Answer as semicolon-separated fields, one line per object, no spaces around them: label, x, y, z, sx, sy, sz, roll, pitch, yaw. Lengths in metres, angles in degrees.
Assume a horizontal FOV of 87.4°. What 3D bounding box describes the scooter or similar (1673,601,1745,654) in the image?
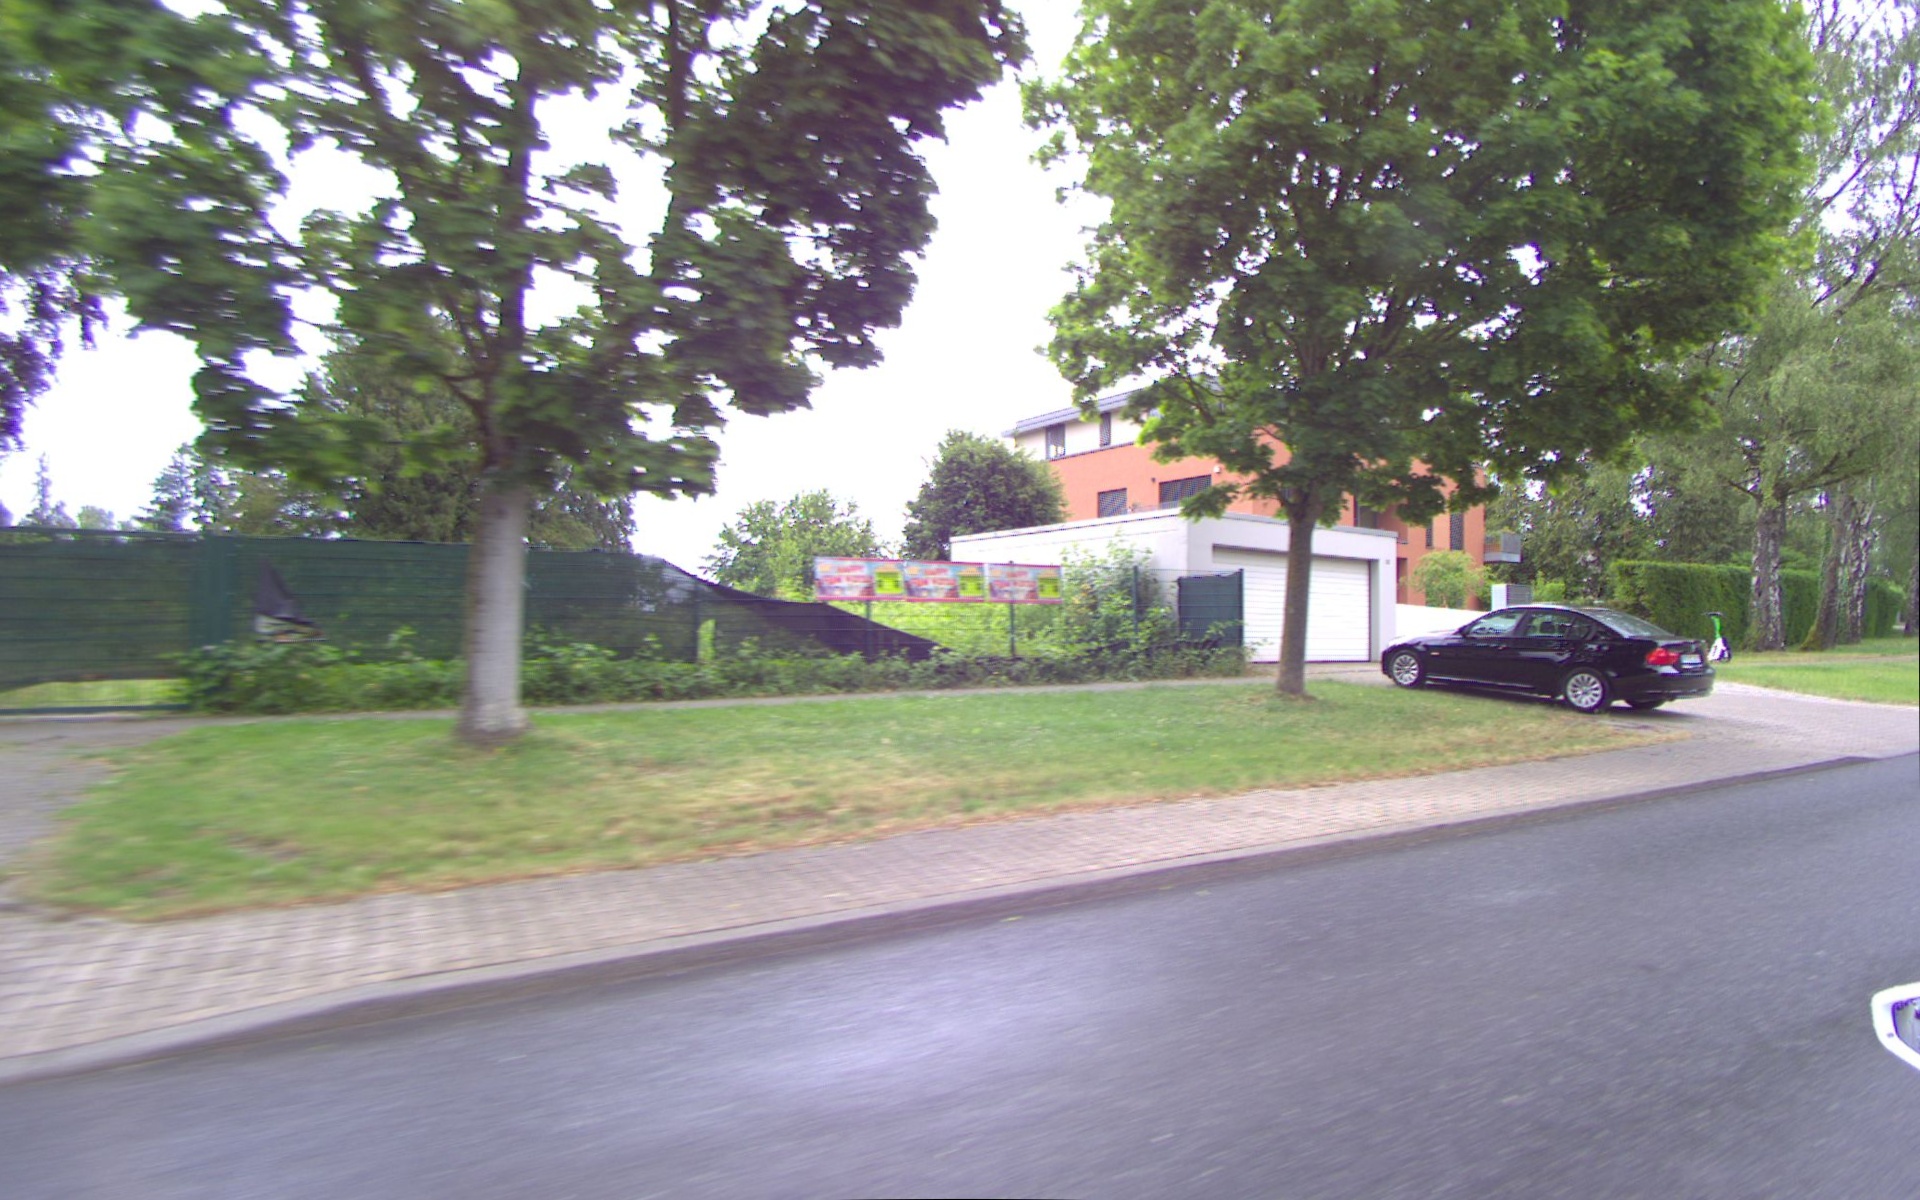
scooter or similar;16.897;0.614;22.672;1.463;1.174;0.424;0;1;-11

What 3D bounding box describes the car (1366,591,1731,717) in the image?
car;8.557;0.679;15.061;1.735;1.436;4.404;1;2;-30
